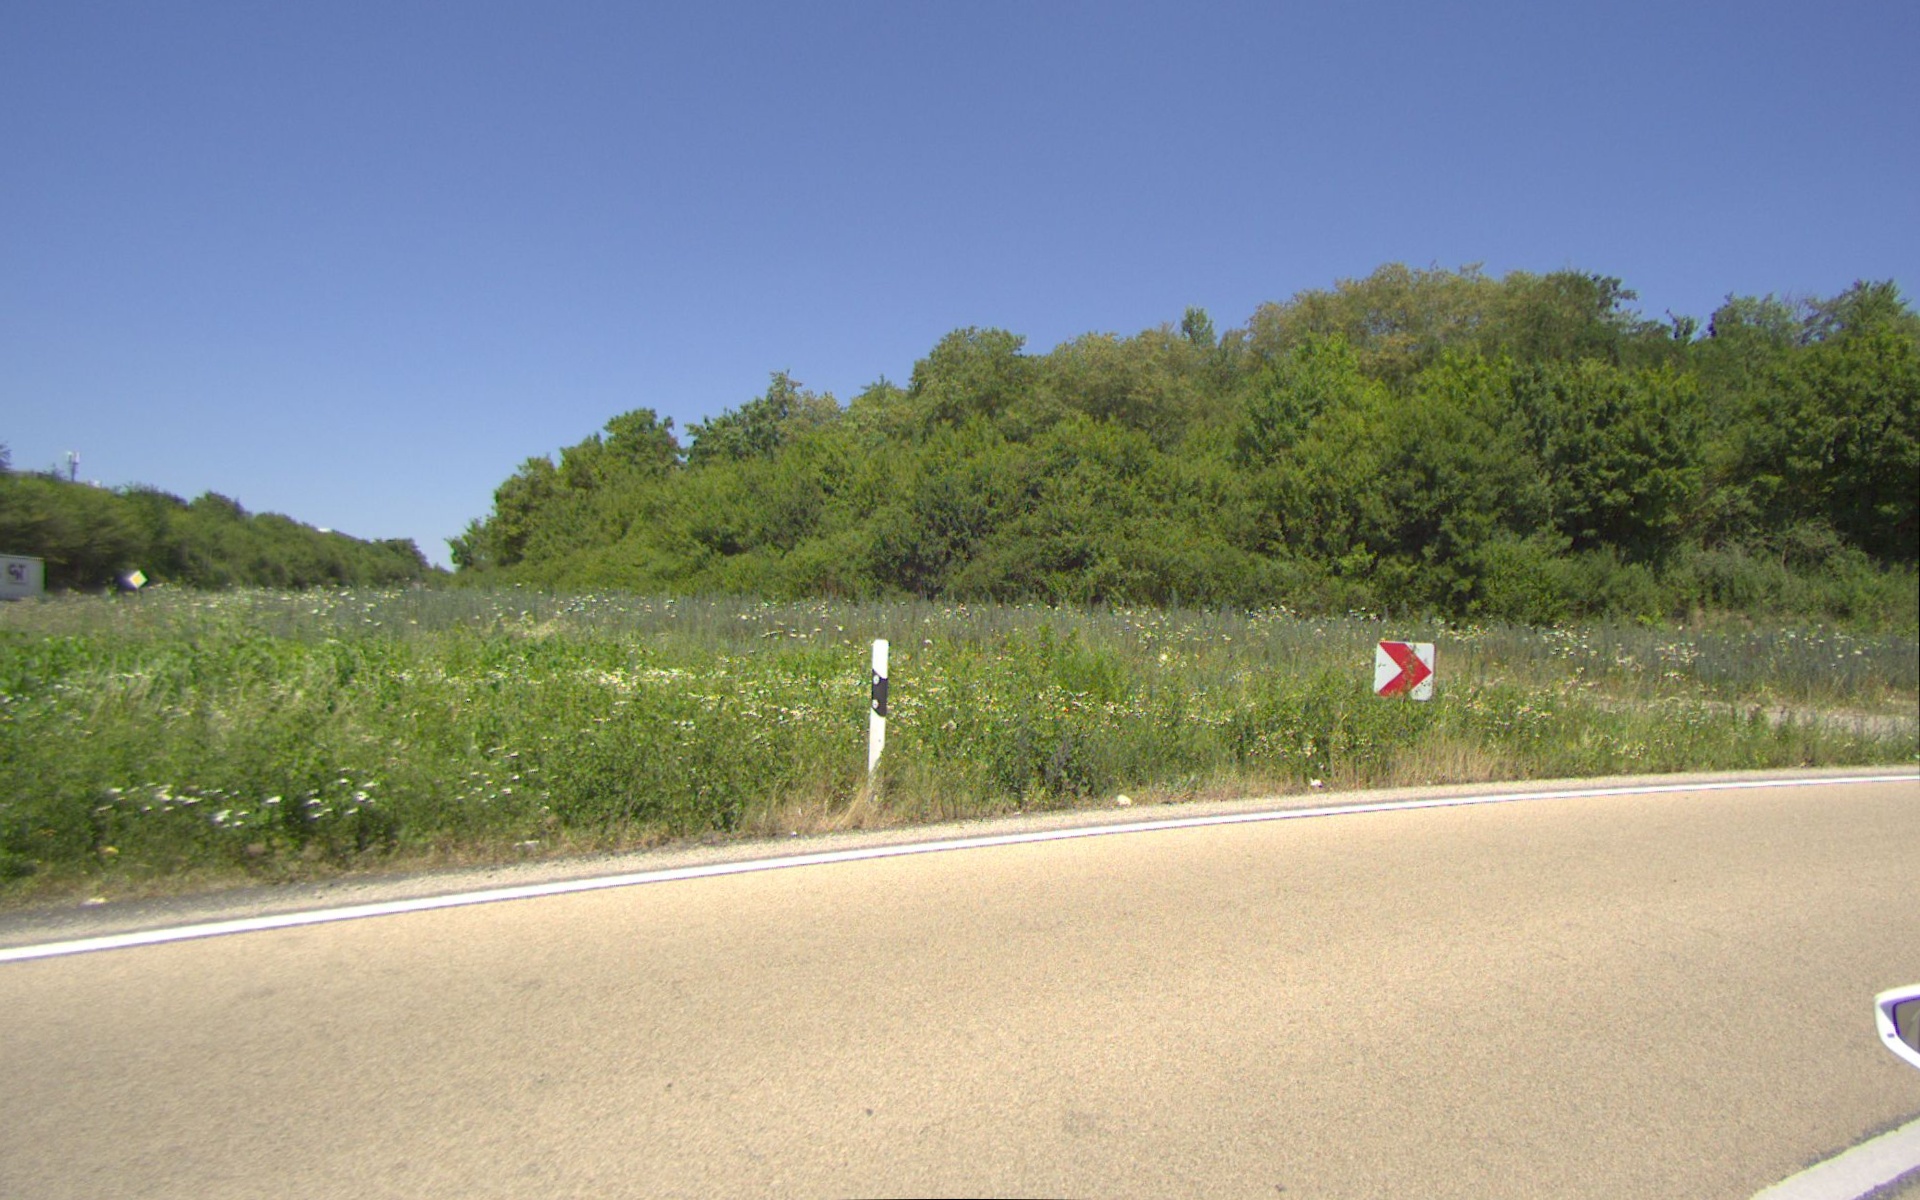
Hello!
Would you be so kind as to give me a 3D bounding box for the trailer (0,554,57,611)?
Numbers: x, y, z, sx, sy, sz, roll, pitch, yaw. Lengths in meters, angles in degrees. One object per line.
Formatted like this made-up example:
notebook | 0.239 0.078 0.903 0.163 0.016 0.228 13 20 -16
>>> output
trailer | -68.570 -1.234 69.843 2.873 3.992 13.233 1 -1 -15
